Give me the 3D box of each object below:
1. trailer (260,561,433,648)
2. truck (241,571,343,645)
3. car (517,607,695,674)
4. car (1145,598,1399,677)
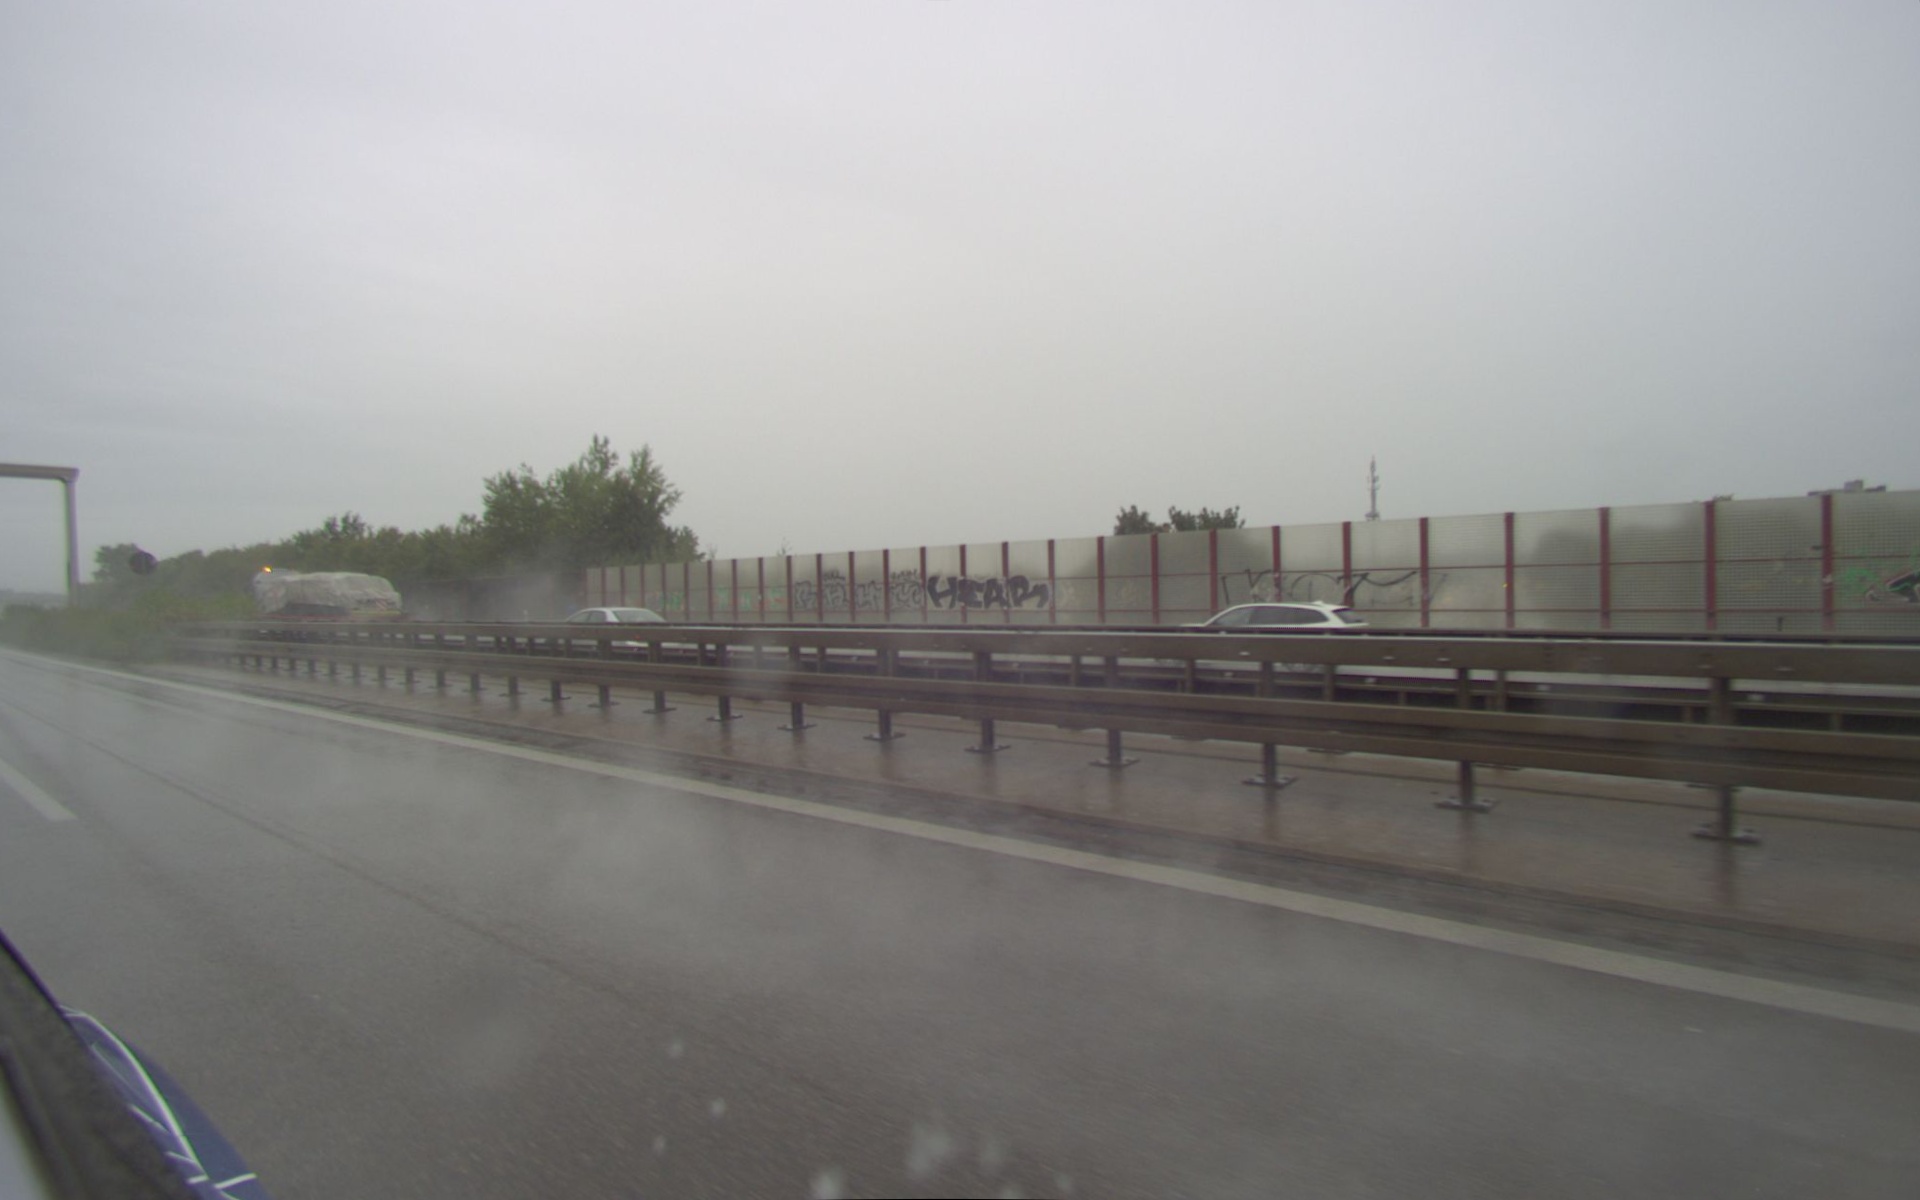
[{"bbox_3d":[-29.487,0.272,48.170,13.563,3.640,3.040,-1,-1,41],"label":"trailer"},{"bbox_3d":[-34.941,0.417,52.869,5.996,3.626,2.951,-1,-1,41],"label":"truck"},{"bbox_3d":[-8.802,0.938,24.961,4.720,1.482,1.965,-1,0,39],"label":"car"},{"bbox_3d":[6.458,0.733,21.241,4.718,1.482,1.966,-1,0,37],"label":"car"}]
